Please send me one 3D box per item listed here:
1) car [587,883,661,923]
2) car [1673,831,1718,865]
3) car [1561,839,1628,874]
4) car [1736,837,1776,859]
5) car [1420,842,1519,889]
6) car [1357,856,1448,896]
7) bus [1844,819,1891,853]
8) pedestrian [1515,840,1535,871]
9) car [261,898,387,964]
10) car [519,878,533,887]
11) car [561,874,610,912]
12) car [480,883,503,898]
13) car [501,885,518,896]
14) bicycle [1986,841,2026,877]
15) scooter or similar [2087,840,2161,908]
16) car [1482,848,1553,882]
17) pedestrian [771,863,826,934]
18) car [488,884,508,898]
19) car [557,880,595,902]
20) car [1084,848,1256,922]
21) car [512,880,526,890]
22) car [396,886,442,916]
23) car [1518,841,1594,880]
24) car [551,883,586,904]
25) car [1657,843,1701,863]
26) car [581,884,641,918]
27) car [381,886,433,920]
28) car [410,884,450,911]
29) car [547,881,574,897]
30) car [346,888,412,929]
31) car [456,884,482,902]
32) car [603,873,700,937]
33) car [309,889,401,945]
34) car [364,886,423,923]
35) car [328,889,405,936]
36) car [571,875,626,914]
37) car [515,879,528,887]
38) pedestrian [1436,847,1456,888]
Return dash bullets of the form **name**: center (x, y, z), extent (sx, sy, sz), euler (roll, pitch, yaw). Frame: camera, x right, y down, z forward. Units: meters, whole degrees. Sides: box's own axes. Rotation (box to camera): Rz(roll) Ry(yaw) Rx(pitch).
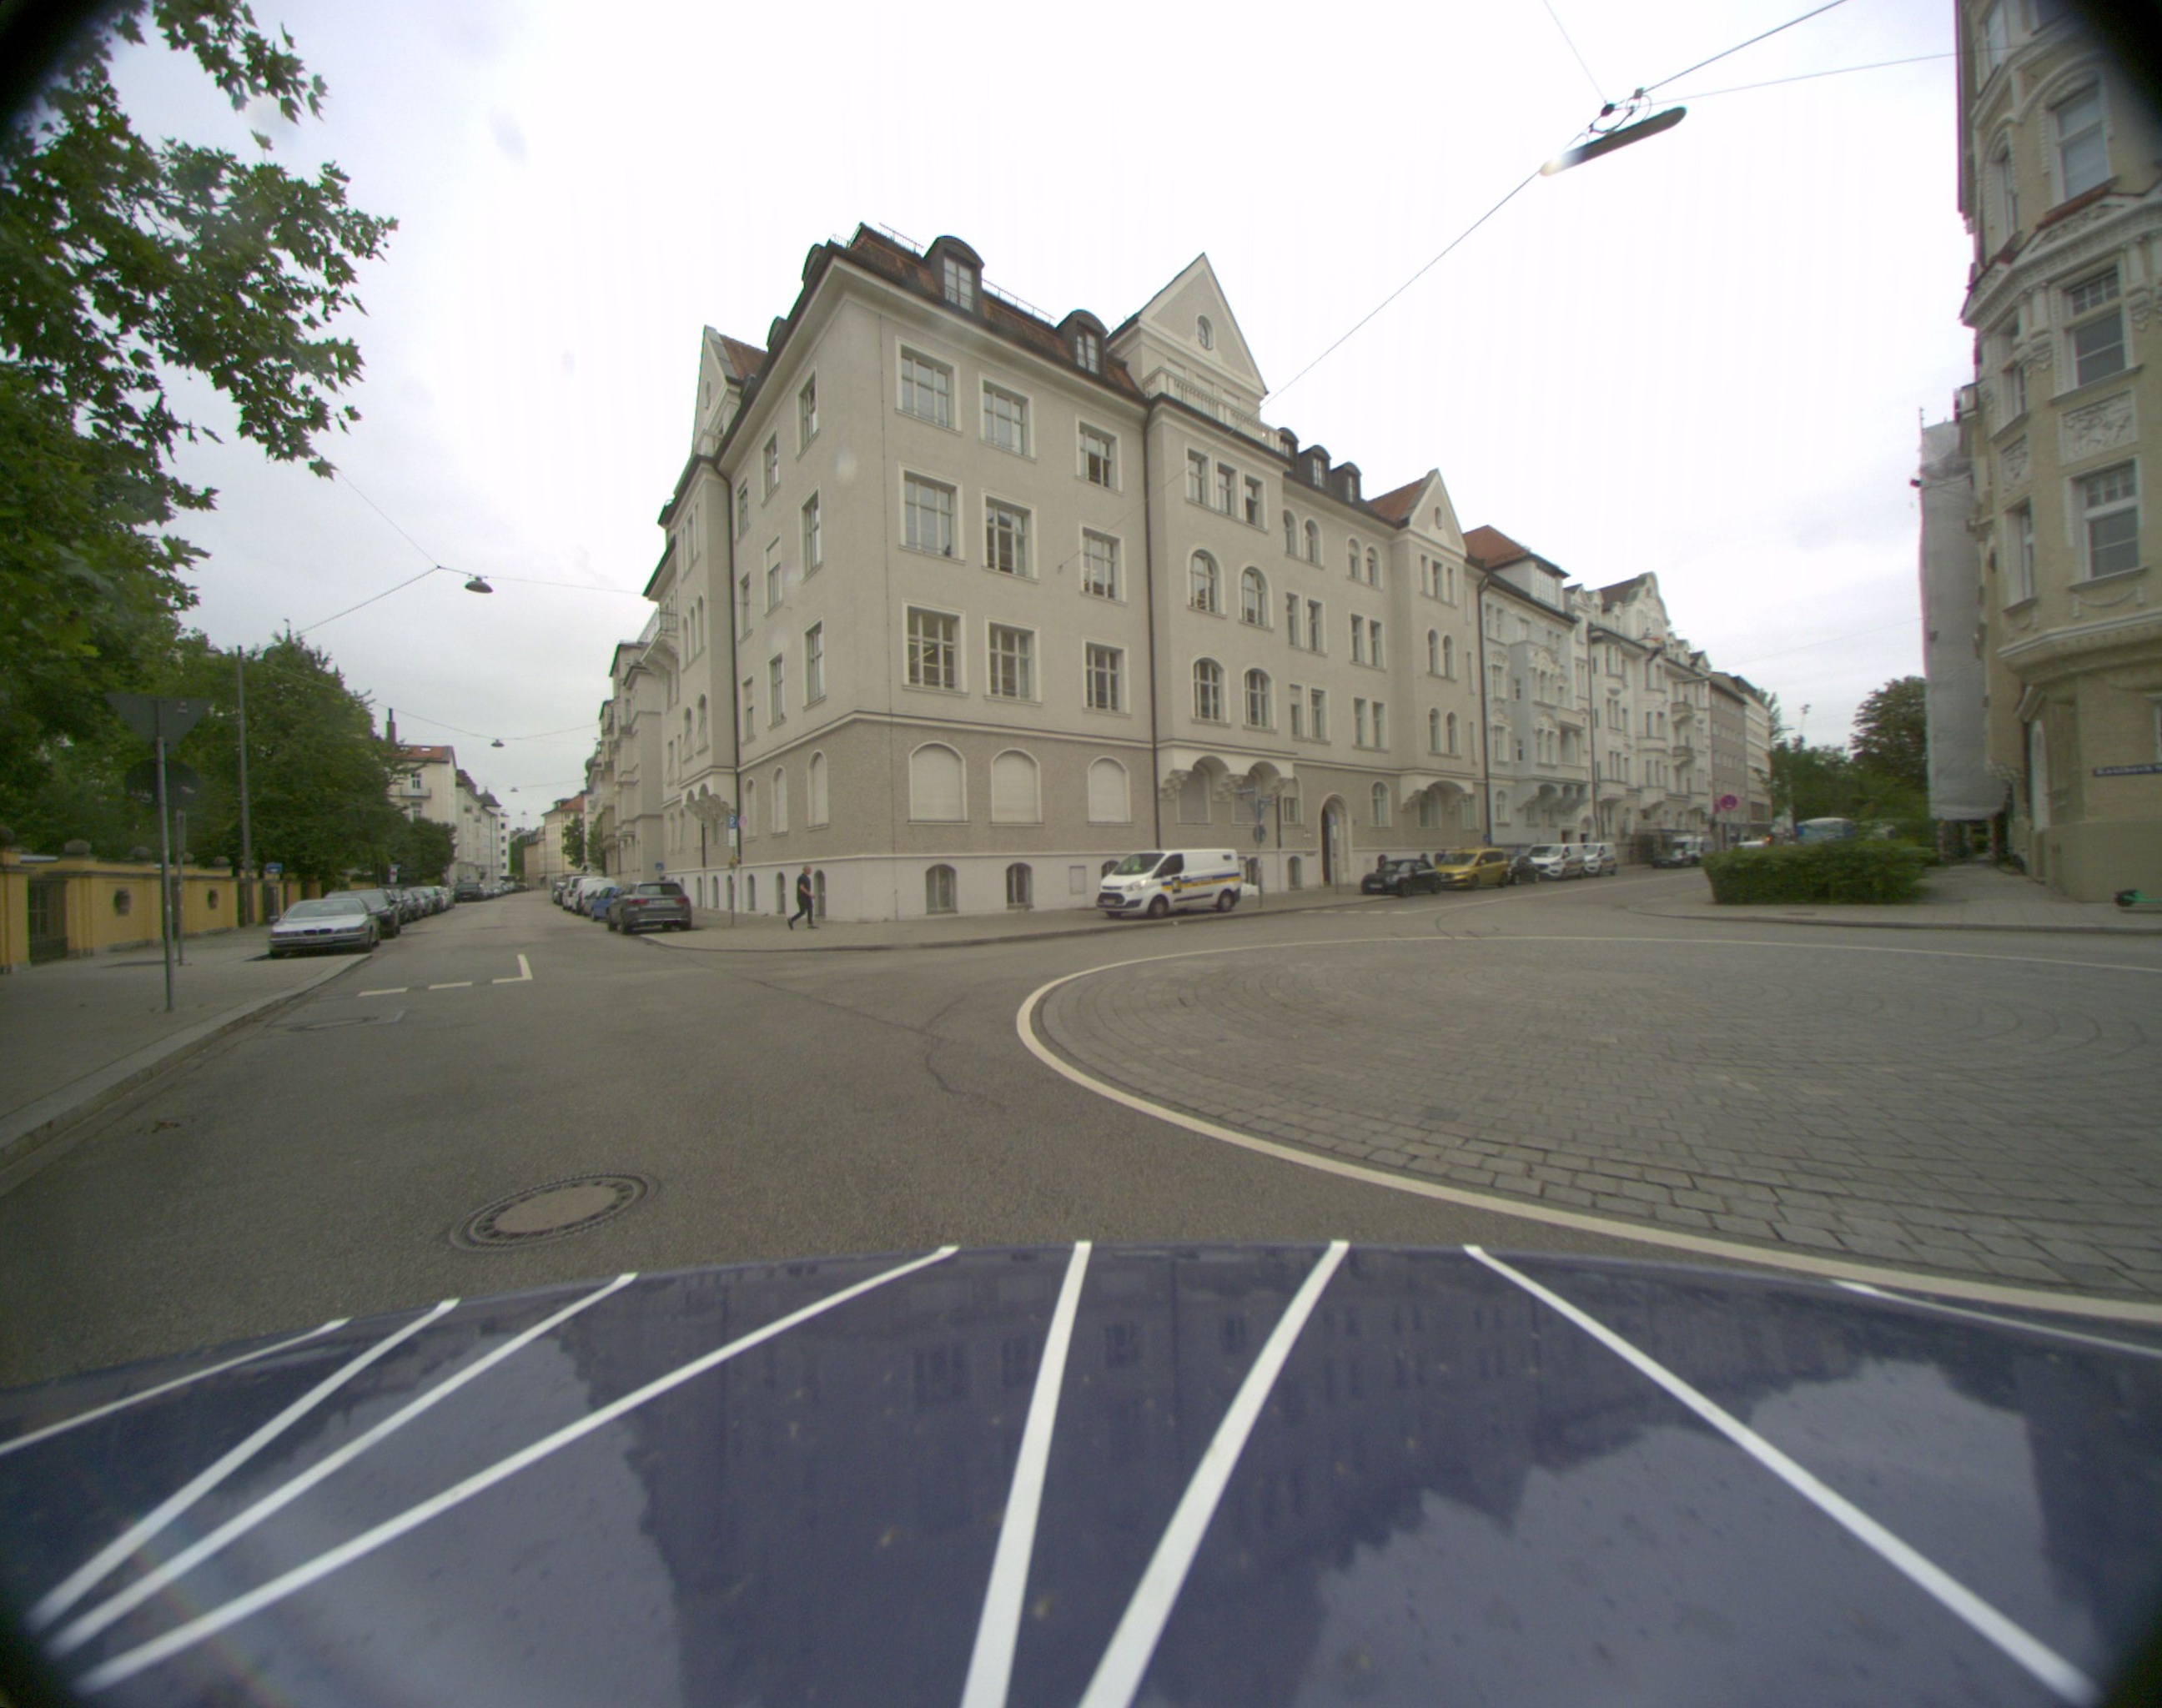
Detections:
- **car**: center (-18.430, 1.916, 30.583), extent (1.896, 1.396, 4.239), euler (-2, 0, -40)
- **car**: center (49.772, -0.524, 61.484), extent (5.456, 2.673, 2.077), euler (-2, 1, -43)
- **car**: center (30.479, 0.140, 45.043), extent (4.887, 1.907, 1.995), euler (-2, 0, -40)
- **car**: center (54.133, -0.476, 60.897), extent (4.610, 1.648, 1.915), euler (-2, 0, -43)
- **car**: center (17.255, 0.469, 33.662), extent (4.579, 1.907, 1.995), euler (-2, 0, -36)
- **car**: center (12.893, 0.840, 30.402), extent (3.834, 1.436, 1.713), euler (-2, 0, -39)
- **bus**: center (82.556, -1.909, 79.771), extent (18.093, 3.194, 3.172), euler (-2, 1, -44)
- **pedestrian**: center (27.755, 0.093, 47.497), extent (0.747, 1.892, 0.852), euler (-2, 0, -36)
- **car**: center (-19.639, 1.918, 19.894), extent (1.804, 1.360, 4.454), euler (-2, -1, -38)
- **car**: center (-104.901, 5.417, 143.585), extent (1.800, 1.538, 3.601), euler (-2, 0, -39)
- **car**: center (-28.028, 2.158, 42.914), extent (1.822, 2.023, 4.024), euler (-2, 0, -40)
- **car**: center (-64.161, 3.940, 82.671), extent (1.800, 1.538, 3.601), euler (-2, 0, -39)
- **car**: center (-84.884, 5.417, 112.868), extent (1.800, 1.538, 3.601), euler (-2, 0, -39)
- **bicycle**: center (32.706, 0.175, 26.876), extent (2.081, 1.198, 0.821), euler (-1, -2, -40)
- **scooter or similar**: center (20.253, 0.380, 14.436), extent (1.281, 1.264, 0.460), euler (-2, 0, 32)
- **car**: center (21.399, 0.530, 37.209), extent (3.892, 1.505, 1.634), euler (-1, -1, -39)
- **pedestrian**: center (-7.487, 1.165, 20.204), extent (0.928, 1.790, 1.001), euler (-2, 0, 11)
- **car**: center (-71.129, 4.497, 92.703), extent (1.800, 1.538, 3.601), euler (-2, 0, -39)
- **car**: center (-36.032, 2.589, 54.155), extent (1.822, 1.418, 3.830), euler (-2, 0, -40)
- **car**: center (2.779, 0.817, 22.731), extent (5.385, 1.911, 1.939), euler (-1, 1, -40)
- **car**: center (-99.742, 5.490, 134.914), extent (1.800, 1.538, 3.601), euler (-2, 0, -39)
- **car**: center (-37.920, 2.653, 43.594), extent (1.800, 1.538, 3.296), euler (-2, 0, -39)
- **car**: center (25.584, 0.316, 40.858), extent (4.895, 1.907, 1.995), euler (-2, 0, -40)
- **car**: center (-38.782, 2.956, 57.477), extent (1.822, 1.418, 3.830), euler (-2, 0, -40)
- **car**: center (45.111, -0.065, 57.296), extent (4.252, 1.399, 1.789), euler (-2, 0, -40)
- **car**: center (-21.531, 2.104, 34.753), extent (1.801, 1.396, 3.830), euler (-2, 0, -40)
- **car**: center (-34.298, 2.455, 38.720), extent (1.800, 1.538, 3.296), euler (-2, 0, -39)
- **car**: center (-41.032, 2.729, 47.935), extent (1.800, 1.538, 3.296), euler (-2, 0, -39)
- **car**: center (-51.142, 3.394, 74.598), extent (1.822, 1.418, 3.830), euler (-2, 0, -40)
- **car**: center (-29.535, 2.249, 32.059), extent (1.800, 1.538, 3.296), euler (-2, 0, -39)
- **car**: center (-56.399, 3.564, 70.049), extent (1.800, 1.538, 3.601), euler (-2, 0, -39)
- **car**: center (-13.754, 1.541, 24.208), extent (1.896, 1.785, 4.239), euler (-2, 0, -40)
- **car**: center (-23.287, 1.947, 24.510), extent (1.800, 1.537, 3.947), euler (-2, -1, -39)
- **car**: center (-31.716, 2.301, 35.115), extent (1.800, 1.538, 3.296), euler (-2, 0, -39)
- **car**: center (-26.969, 2.135, 28.807), extent (1.800, 1.537, 3.947), euler (-2, -1, -39)
- **car**: center (-24.220, 1.998, 38.073), extent (1.801, 1.773, 3.830), euler (-2, 0, -40)
- **car**: center (-102.285, 5.299, 138.908), extent (1.800, 1.538, 3.601), euler (-2, 0, -39)
- **pedestrian**: center (17.748, 0.658, 36.952), extent (0.729, 2.002, 0.583), euler (-2, 0, -37)
